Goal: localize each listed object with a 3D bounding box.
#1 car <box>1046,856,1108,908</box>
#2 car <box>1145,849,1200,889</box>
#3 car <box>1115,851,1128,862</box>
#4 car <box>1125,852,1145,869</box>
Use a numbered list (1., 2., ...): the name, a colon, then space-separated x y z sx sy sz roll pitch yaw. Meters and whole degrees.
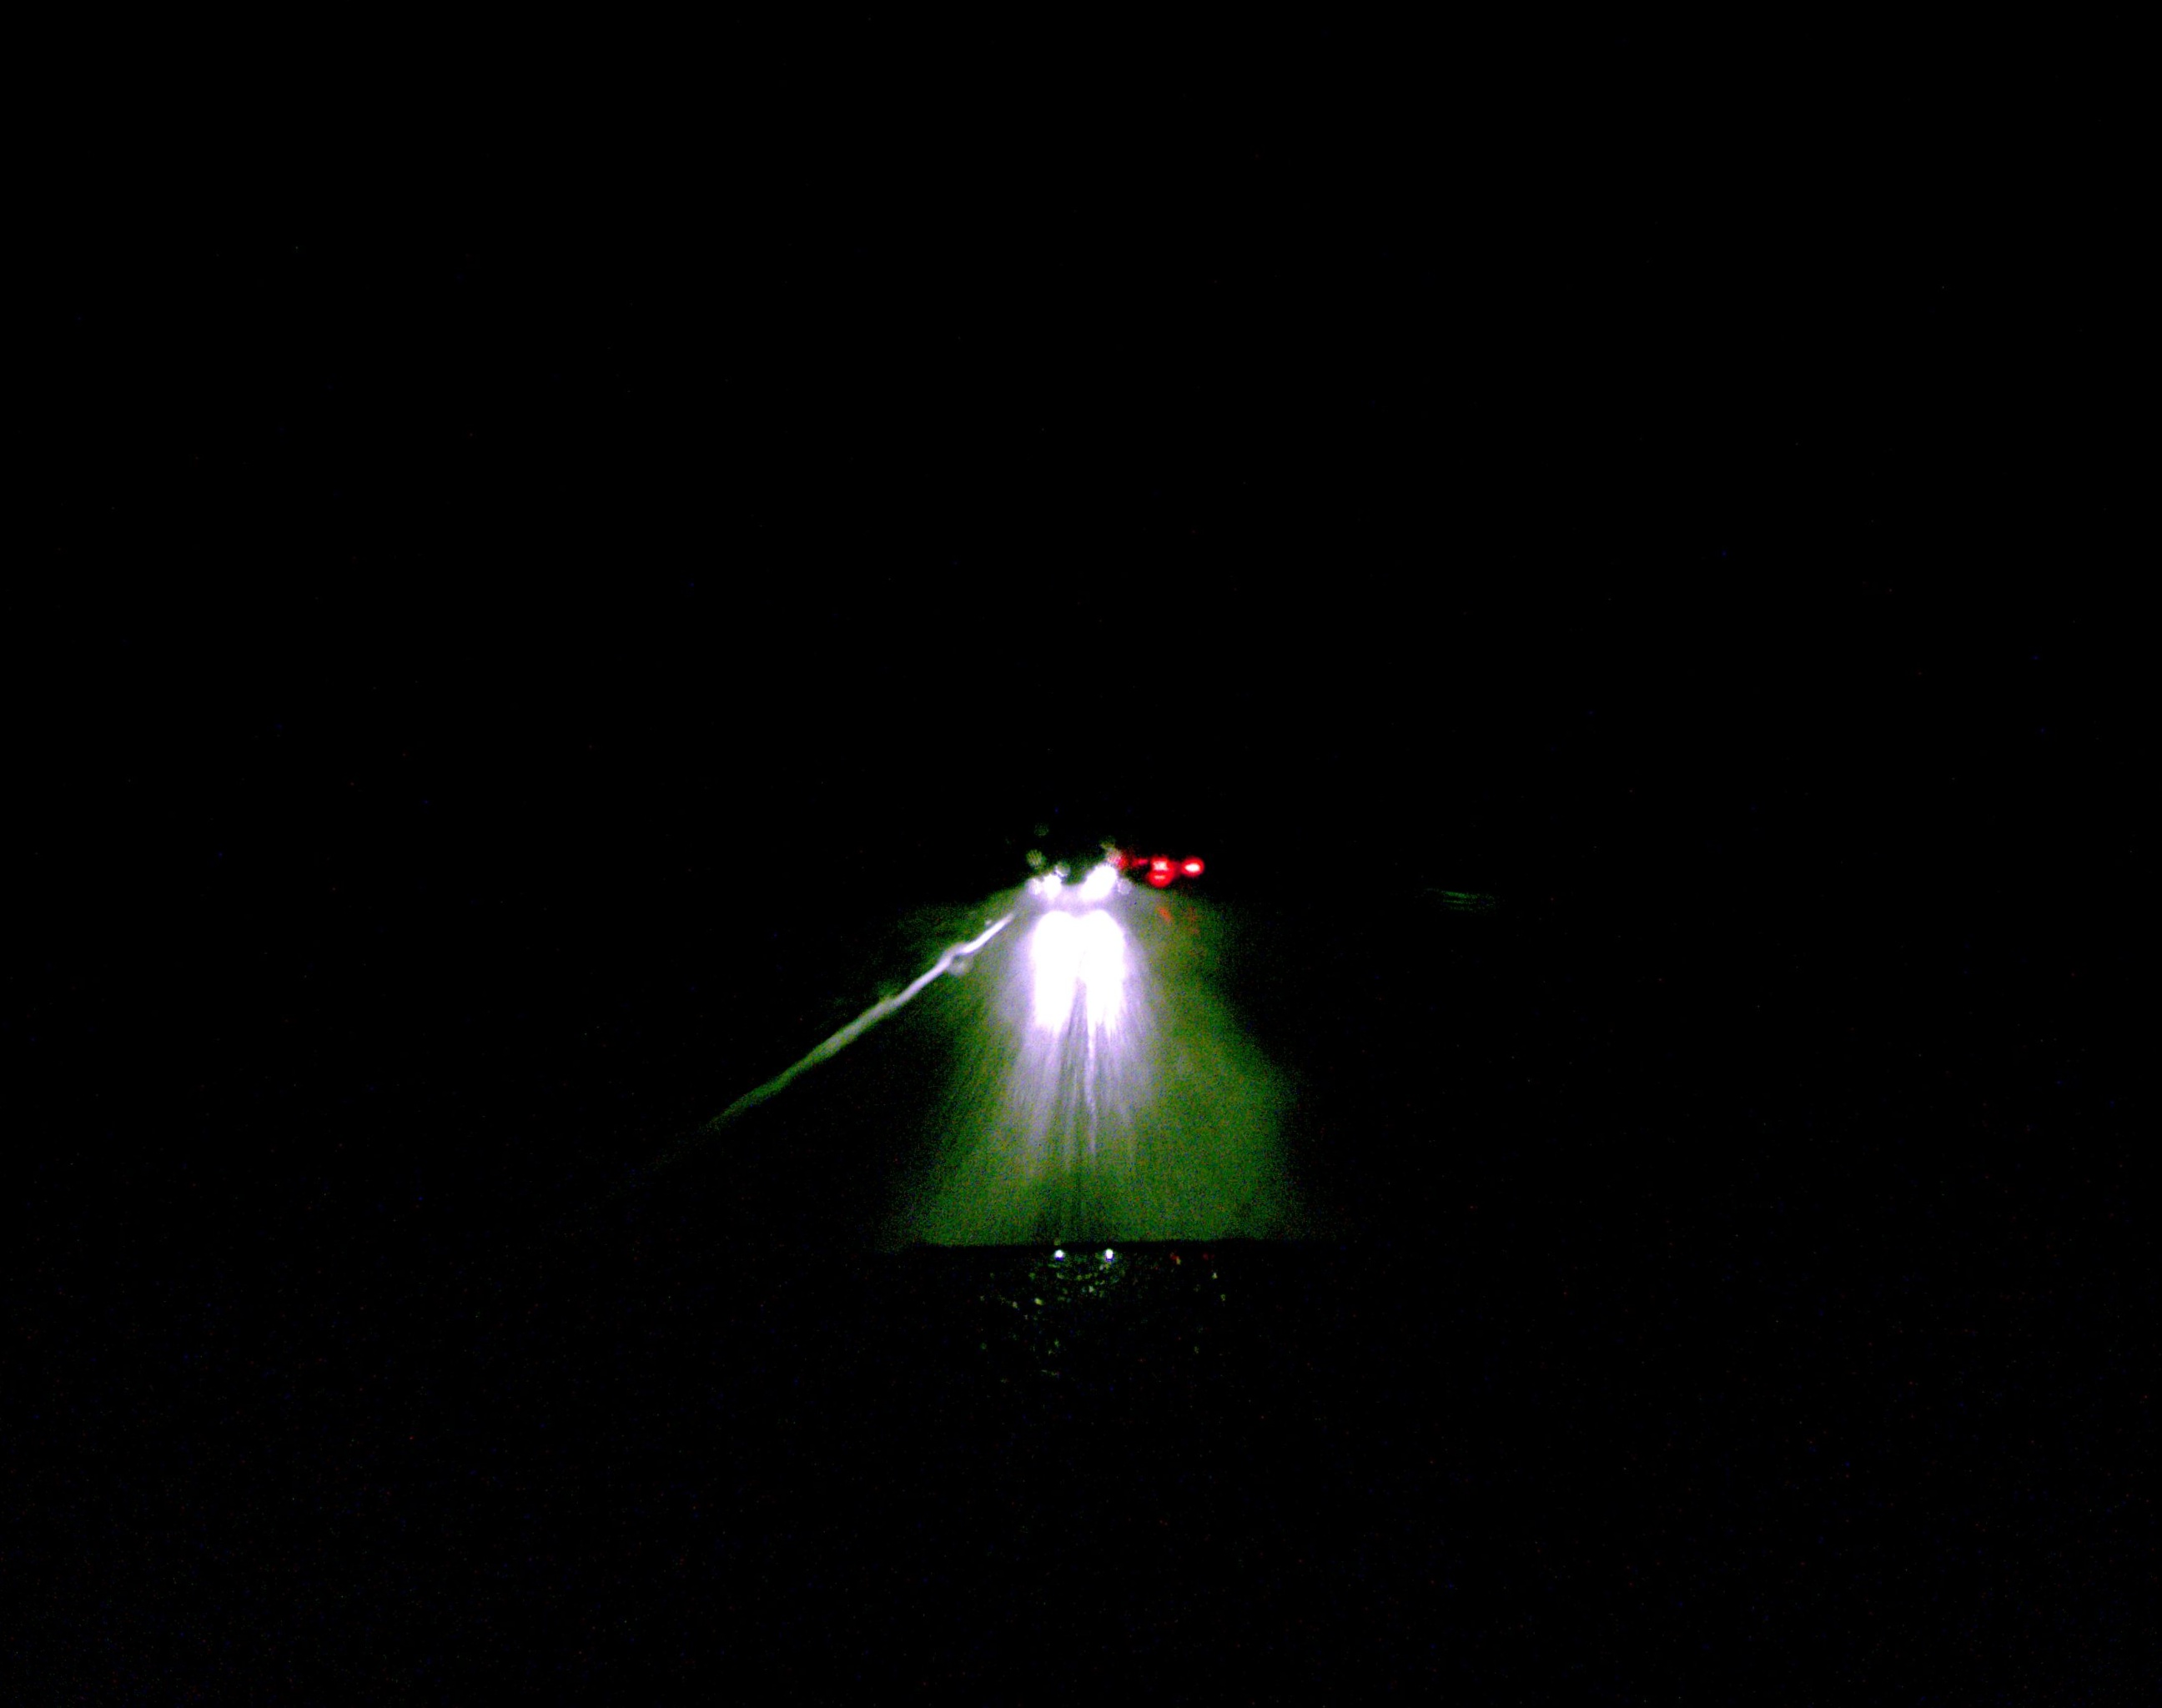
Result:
1. car: -0.069 0.897 25.976 1.744 1.502 3.600 -4 1 4
2. car: 3.700 0.555 31.313 1.924 1.463 4.574 -1 1 3
3. car: 6.306 0.391 118.740 1.864 1.628 4.143 -2 0 2
4. car: 5.347 0.663 75.914 1.776 1.501 3.690 -4 0 1
